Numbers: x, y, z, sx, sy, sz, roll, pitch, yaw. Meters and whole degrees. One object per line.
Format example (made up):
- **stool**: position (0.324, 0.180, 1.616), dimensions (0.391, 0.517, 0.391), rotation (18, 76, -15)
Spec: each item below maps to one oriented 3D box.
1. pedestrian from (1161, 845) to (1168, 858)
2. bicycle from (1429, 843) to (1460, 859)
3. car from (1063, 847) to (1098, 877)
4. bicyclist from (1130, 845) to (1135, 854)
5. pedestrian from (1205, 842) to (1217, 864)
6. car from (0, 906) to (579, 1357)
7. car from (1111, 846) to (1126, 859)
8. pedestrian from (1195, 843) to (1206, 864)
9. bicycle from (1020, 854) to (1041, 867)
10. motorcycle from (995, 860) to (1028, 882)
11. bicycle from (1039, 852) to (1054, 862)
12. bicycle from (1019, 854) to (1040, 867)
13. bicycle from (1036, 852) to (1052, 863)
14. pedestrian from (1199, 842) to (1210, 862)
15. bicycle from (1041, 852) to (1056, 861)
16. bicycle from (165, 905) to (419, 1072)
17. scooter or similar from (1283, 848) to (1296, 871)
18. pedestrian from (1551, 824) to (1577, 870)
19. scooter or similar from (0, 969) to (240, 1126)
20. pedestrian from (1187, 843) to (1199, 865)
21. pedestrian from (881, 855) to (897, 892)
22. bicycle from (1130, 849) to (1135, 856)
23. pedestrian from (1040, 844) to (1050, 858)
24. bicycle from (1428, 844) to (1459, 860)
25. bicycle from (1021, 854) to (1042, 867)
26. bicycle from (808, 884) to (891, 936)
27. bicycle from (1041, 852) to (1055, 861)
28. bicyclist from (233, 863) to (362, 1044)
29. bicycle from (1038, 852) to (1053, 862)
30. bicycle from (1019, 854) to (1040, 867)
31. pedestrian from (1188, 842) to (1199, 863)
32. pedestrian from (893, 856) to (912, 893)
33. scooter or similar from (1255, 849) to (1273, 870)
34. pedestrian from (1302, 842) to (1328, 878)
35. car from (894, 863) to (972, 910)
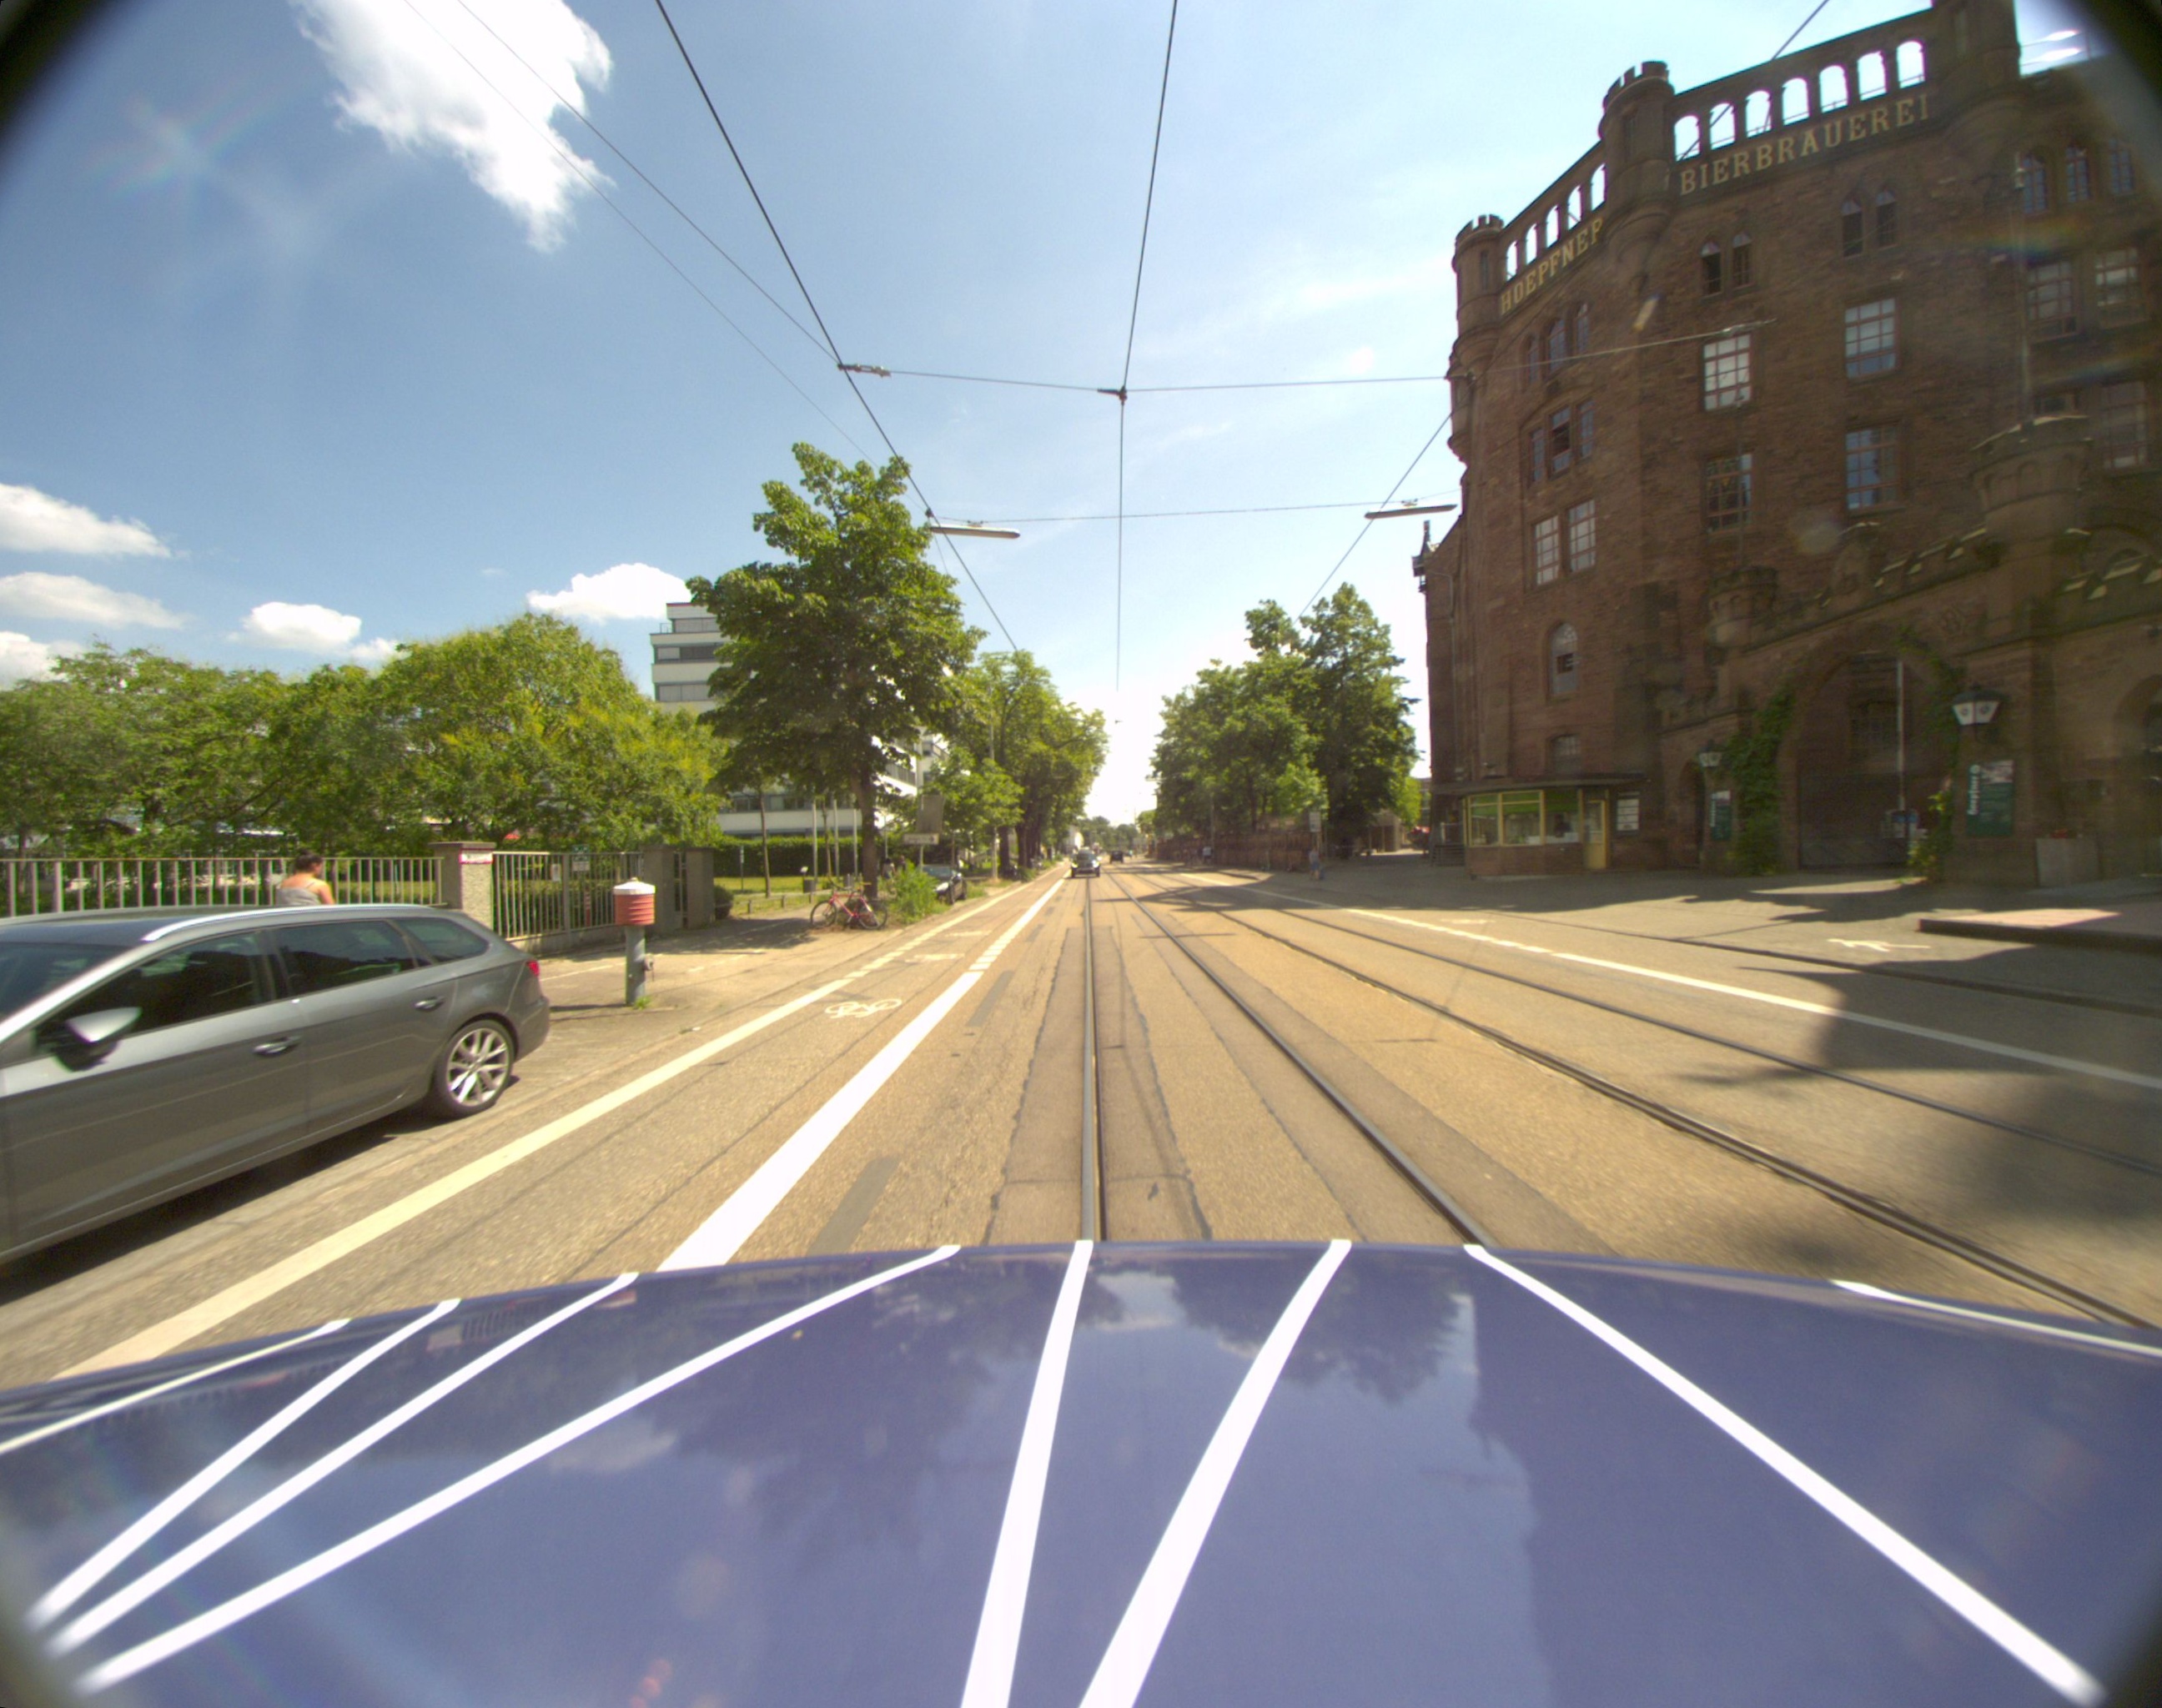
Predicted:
- **pedestrian**: position (11.487, -0.366, 104.232), dimensions (0.750, 1.738, 0.919), rotation (-4, 1, 0)
- **bicycle**: position (24.192, -0.180, 50.606), dimensions (1.779, 0.988, 0.493), rotation (-3, 1, 35)
- **car**: position (-0.011, 0.459, 48.297), dimensions (1.998, 1.732, 4.226), rotation (-3, 1, 1)
- **bicyclist**: position (9.052, -0.747, 133.591), dimensions (0.665, 1.616, 0.919), rotation (0, 1, 0)
- **pedestrian**: position (10.939, -0.091, 63.934), dimensions (0.754, 1.766, 0.919), rotation (-5, 1, 0)
- **car**: position (-4.796, 1.149, 3.574), dimensions (1.675, 1.400, 4.748), rotation (-2, 0, 0)
- **car**: position (5.260, -0.208, 106.197), dimensions (1.909, 1.778, 4.255), rotation (-1, 1, 0)
- **pedestrian**: position (10.091, -0.035, 63.986), dimensions (0.679, 1.738, 0.919), rotation (-5, 1, 0)
- **bicycle**: position (-4.432, 0.572, 66.379), dimensions (1.812, 1.105, 0.395), rotation (-1, 1, -2)
- **motorcycle**: position (-4.130, 0.990, 44.860), dimensions (2.056, 1.206, 0.614), rotation (0, 3, 40)
- **bicycle**: position (-4.165, 0.378, 92.166), dimensions (1.813, 1.105, 0.569), rotation (-3, 1, -3)
- **bicycle**: position (-4.463, 0.583, 65.979), dimensions (1.813, 1.105, 0.395), rotation (-1, 1, -3)
- **bicycle**: position (-4.380, 0.409, 90.824), dimensions (1.846, 1.105, 0.569), rotation (-3, 1, -3)
- **pedestrian**: position (10.877, -0.182, 66.721), dimensions (0.679, 1.766, 0.919), rotation (-5, 1, 0)
- **bicycle**: position (-4.224, 0.328, 97.698), dimensions (1.819, 1.158, 0.710), rotation (-2, 1, -7)
- **bicycle**: position (-7.399, 1.189, 7.266), dimensions (0.556, 1.258, 1.773), rotation (1, 1, 1)
- **scooter or similar**: position (10.979, 0.292, 40.026), dimensions (0.328, 1.120, 1.225), rotation (-2, 1, 29)
- **pedestrian**: position (14.987, -0.219, 23.585), dimensions (0.581, 1.393, 0.423), rotation (-2, 1, 40)
- **scooter or similar**: position (-7.446, 1.376, 5.594), dimensions (0.763, 0.802, 1.555), rotation (0, 1, 1)
- **pedestrian**: position (9.299, -0.027, 63.225), dimensions (0.723, 1.781, 0.919), rotation (-5, 1, 0)
- **pedestrian**: position (-8.145, 0.814, 32.252), dimensions (0.514, 1.564, 0.544), rotation (0, 1, 1)
- **bicycle**: position (9.044, -0.234, 133.487), dimensions (0.661, 1.156, 1.895), rotation (0, 1, 0)
- **pedestrian**: position (-4.606, -0.382, 97.807), dimensions (0.986, 1.822, 0.786), rotation (-3, 1, -43)
- **bicycle**: position (23.847, -0.144, 49.990), dimensions (1.779, 0.988, 0.493), rotation (-3, 1, 35)
- **bicycle**: position (-4.424, 0.576, 67.909), dimensions (1.813, 1.105, 0.533), rotation (-1, 1, -8)
- **bicycle**: position (-5.042, 1.214, 16.609), dimensions (1.589, 1.054, 0.562), rotation (-2, 1, -1)
- **bicycle**: position (-4.307, 0.322, 99.004), dimensions (1.819, 1.158, 0.710), rotation (-2, 1, -7)
- **bicyclist**: position (-7.405, 0.906, 7.206), dimensions (0.582, 1.638, 0.599), rotation (0, 1, 0)
- **bicycle**: position (-4.364, 0.380, 94.233), dimensions (1.813, 1.105, 0.569), rotation (-3, 1, -3)
- **bicycle**: position (-4.455, 0.585, 65.548), dimensions (1.812, 1.105, 0.449), rotation (-1, 1, -2)
- **pedestrian**: position (9.817, -0.114, 66.118), dimensions (0.679, 1.780, 0.919), rotation (-5, 1, 0)
- **pedestrian**: position (-7.563, 0.871, 32.181), dimensions (0.620, 1.564, 0.610), rotation (0, 1, 1)
- **scooter or similar**: position (10.484, 0.290, 43.488), dimensions (0.348, 1.120, 1.227), rotation (-2, 2, 44)
- **pedestrian**: position (10.592, 0.268, 34.393), dimensions (0.801, 1.579, 0.919), rotation (-5, 1, 0)
- **car**: position (-4.846, 1.032, 25.375), dimensions (1.756, 1.263, 3.833), rotation (-3, 1, 1)
